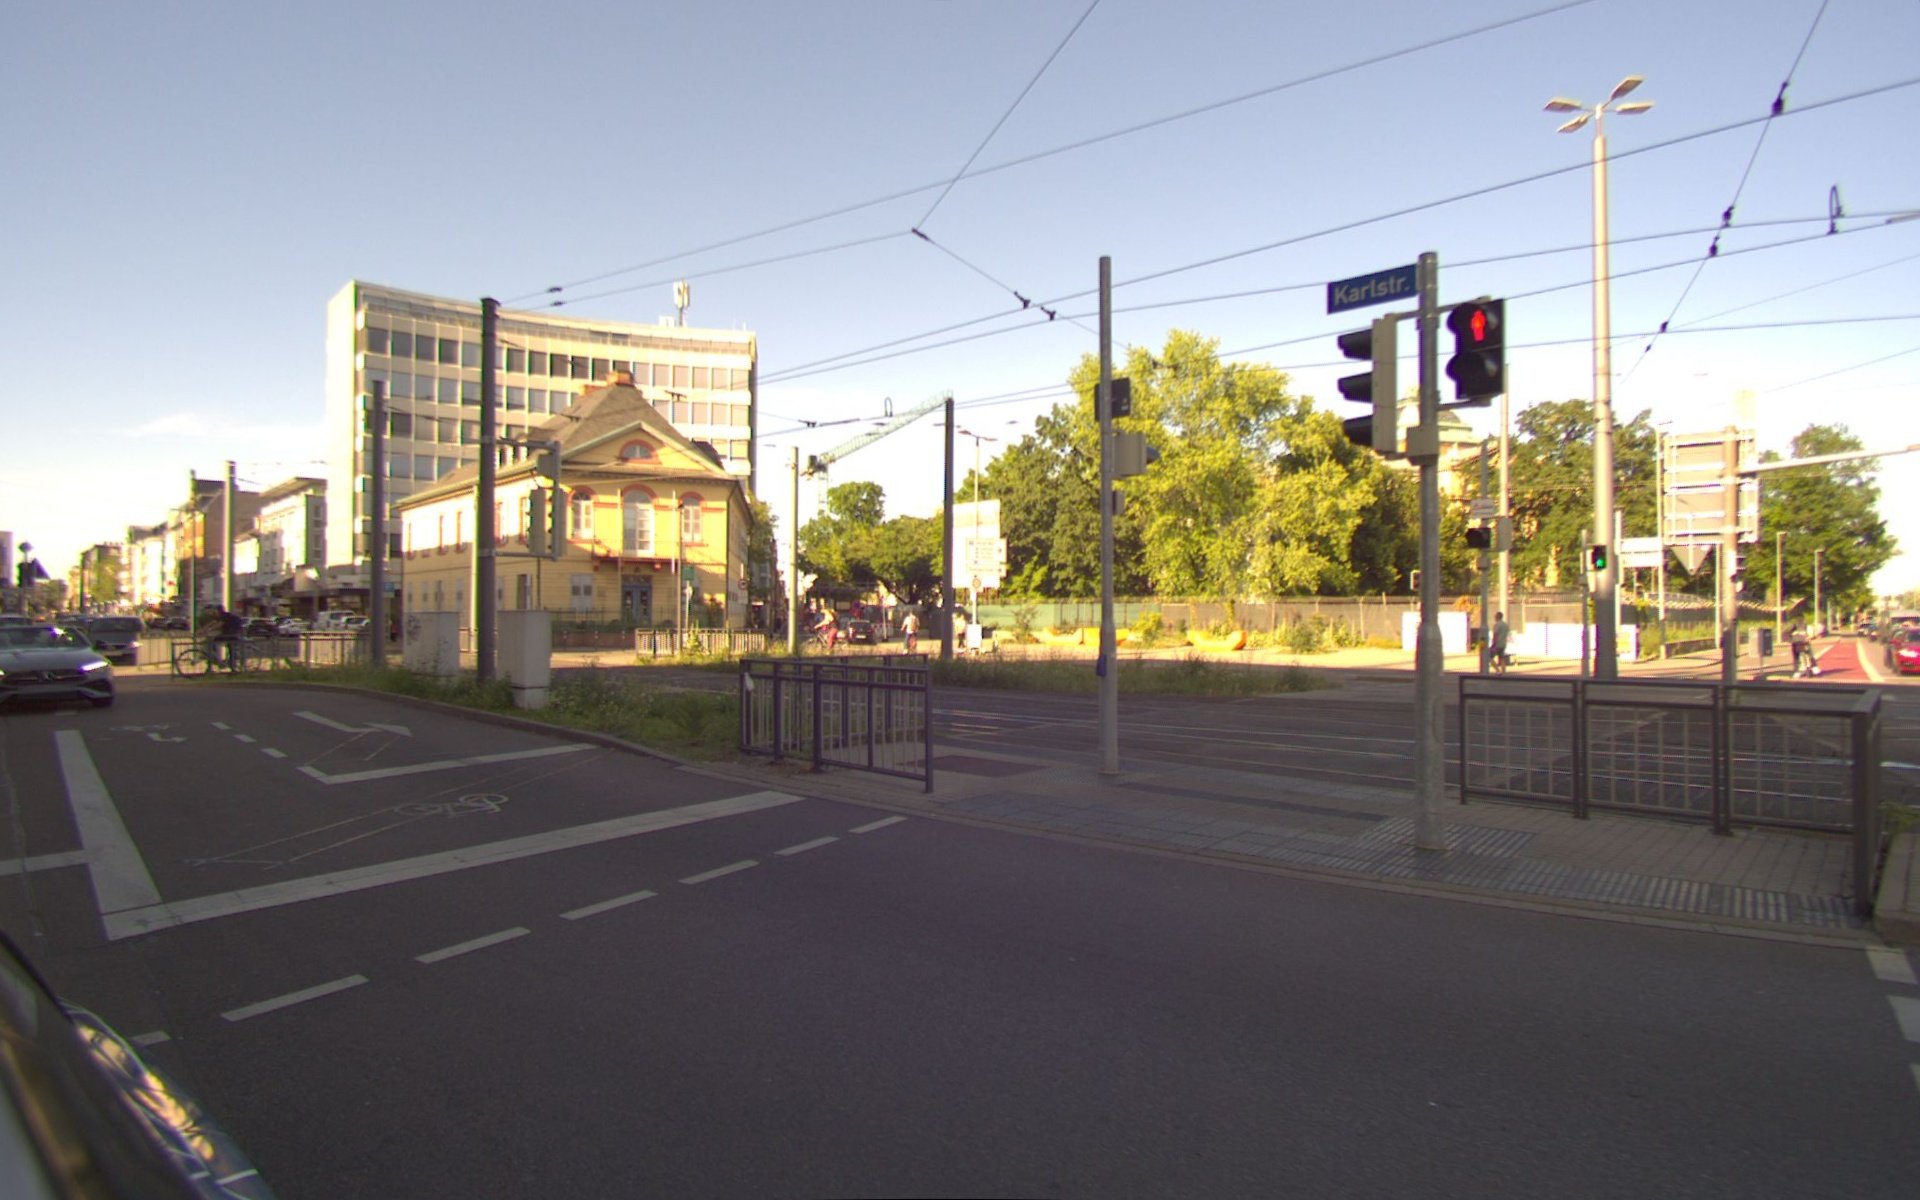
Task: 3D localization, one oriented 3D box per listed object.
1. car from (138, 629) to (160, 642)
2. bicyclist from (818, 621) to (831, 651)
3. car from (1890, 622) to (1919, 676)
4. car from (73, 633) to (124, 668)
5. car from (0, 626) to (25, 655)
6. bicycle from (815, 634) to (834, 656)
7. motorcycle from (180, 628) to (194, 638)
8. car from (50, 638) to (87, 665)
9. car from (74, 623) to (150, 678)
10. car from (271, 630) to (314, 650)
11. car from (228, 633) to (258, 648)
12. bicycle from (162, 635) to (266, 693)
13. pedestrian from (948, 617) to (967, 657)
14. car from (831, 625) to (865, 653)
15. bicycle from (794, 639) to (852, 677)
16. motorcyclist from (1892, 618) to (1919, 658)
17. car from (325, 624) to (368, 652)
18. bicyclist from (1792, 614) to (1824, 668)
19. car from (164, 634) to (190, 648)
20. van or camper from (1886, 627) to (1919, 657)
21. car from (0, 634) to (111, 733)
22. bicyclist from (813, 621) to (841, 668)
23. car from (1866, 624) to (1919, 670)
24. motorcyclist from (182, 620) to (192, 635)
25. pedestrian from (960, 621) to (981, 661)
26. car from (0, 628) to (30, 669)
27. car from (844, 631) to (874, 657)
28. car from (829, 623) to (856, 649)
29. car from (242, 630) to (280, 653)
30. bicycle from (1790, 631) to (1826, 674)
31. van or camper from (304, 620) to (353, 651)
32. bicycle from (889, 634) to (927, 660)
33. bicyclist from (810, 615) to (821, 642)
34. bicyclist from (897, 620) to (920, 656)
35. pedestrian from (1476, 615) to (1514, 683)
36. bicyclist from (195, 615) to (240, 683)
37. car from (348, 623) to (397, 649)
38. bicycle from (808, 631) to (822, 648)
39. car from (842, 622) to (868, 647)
[{"bbox_3d":[-98.931,4.319,123.460,1.756,1.521,3.863,2,-3,-43],"label":"car"},{"bbox_3d":[-7.816,2.082,58.361,0.513,1.686,0.773,0,-1,-26],"label":"bicyclist"},{"bbox_3d":[28.956,1.450,29.920,1.780,1.521,4.505,-2,-3,39],"label":"car"},{"bbox_3d":[-43.153,2.506,50.678,1.757,1.676,3.966,2,-3,-42],"label":"car"},{"bbox_3d":[-58.319,2.453,61.757,1.757,1.676,4.168,2,-3,-42],"label":"car"},{"bbox_3d":[-7.804,2.578,58.338,0.522,1.223,1.891,0,-1,-25],"label":"bicycle"},{"bbox_3d":[-79.415,3.375,103.992,2.153,0.933,0.593,-1,-1,38],"label":"motorcycle"},{"bbox_3d":[-58.200,3.338,66.032,1.712,1.676,3.786,2,-3,-42],"label":"car"},{"bbox_3d":[-27.692,1.599,33.004,1.712,1.676,3.966,2,-3,-42],"label":"car"},{"bbox_3d":[-52.961,3.161,80.225,4.294,1.463,1.904,-1,0,43],"label":"car"},{"bbox_3d":[-68.985,3.881,97.354,1.761,1.427,3.600,0,-1,-44],"label":"car"},{"bbox_3d":[-16.963,1.424,23.045,0.640,1.221,1.804,-1,-1,35],"label":"bicycle"},{"bbox_3d":[-0.110,1.731,47.510,0.586,1.831,0.707,0,-1,-31],"label":"pedestrian"},{"bbox_3d":[-7.188,2.484,64.791,1.863,1.683,3.872,-1,-1,-10],"label":"car"},{"bbox_3d":[-4.895,2.068,36.166,2.011,1.301,0.572,-1,-1,19],"label":"bicycle"},{"bbox_3d":[37.001,1.483,39.585,0.782,1.535,0.910,-1,-1,42],"label":"motorcyclist"},{"bbox_3d":[-40.121,2.453,66.148,1.755,1.633,4.182,-2,0,-40],"label":"car"},{"bbox_3d":[23.978,1.155,28.625,0.608,1.504,0.609,-1,-1,35],"label":"bicyclist"},{"bbox_3d":[-83.994,4.411,108.584,1.755,1.521,4.674,2,-3,-43],"label":"car"},{"bbox_3d":[67.206,2.933,71.443,1.975,2.016,4.306,-1,-1,34],"label":"van or camper"},{"bbox_3d":[-16.199,1.349,17.368,4.773,1.450,1.844,-1,-1,42],"label":"car"},{"bbox_3d":[-4.737,1.589,36.122,0.800,1.661,0.586,-2,-1,19],"label":"bicyclist"},{"bbox_3d":[33.267,1.638,35.939,1.575,1.483,3.661,-1,-1,41],"label":"car"},{"bbox_3d":[-79.505,2.840,104.069,0.883,1.570,0.646,-1,-1,37],"label":"motorcyclist"},{"bbox_3d":[0.499,1.943,48.098,0.695,1.865,0.742,0,-1,-31],"label":"pedestrian"},{"bbox_3d":[-39.006,1.935,41.095,1.755,1.581,3.966,2,-3,-42],"label":"car"},{"bbox_3d":[-5.966,2.565,59.346,1.624,1.357,3.766,-1,-1,-8],"label":"car"},{"bbox_3d":[-8.125,2.478,69.894,1.774,1.683,3.761,-1,-1,-6],"label":"car"},{"bbox_3d":[-50.876,2.961,73.625,1.665,1.572,4.126,0,-1,-43],"label":"car"},{"bbox_3d":[23.954,1.472,28.606,0.610,1.142,1.482,-1,-1,34],"label":"bicycle"},{"bbox_3d":[-43.942,2.422,70.356,1.932,1.988,4.801,-2,0,-44],"label":"van or camper"},{"bbox_3d":[-2.130,1.925,41.447,0.641,1.021,1.889,0,-1,-36],"label":"bicycle"},{"bbox_3d":[-9.073,1.756,63.425,0.513,1.686,0.773,0,-1,-19],"label":"bicyclist"},{"bbox_3d":[-2.113,1.536,41.364,0.655,1.465,0.732,0,-1,-36],"label":"bicyclist"},{"bbox_3d":[13.666,1.240,25.860,0.704,1.701,0.619,-4,-3,37],"label":"pedestrian"},{"bbox_3d":[-16.939,1.105,23.088,0.633,1.535,0.675,-1,-1,35],"label":"bicyclist"},{"bbox_3d":[-36.005,2.169,61.994,1.755,1.450,3.966,-2,0,-42],"label":"car"},{"bbox_3d":[-9.101,2.469,63.517,0.522,1.021,1.891,0,-1,-19],"label":"bicycle"},{"bbox_3d":[-7.740,2.537,74.981,1.775,1.683,3.759,-1,-1,-3],"label":"car"}]
